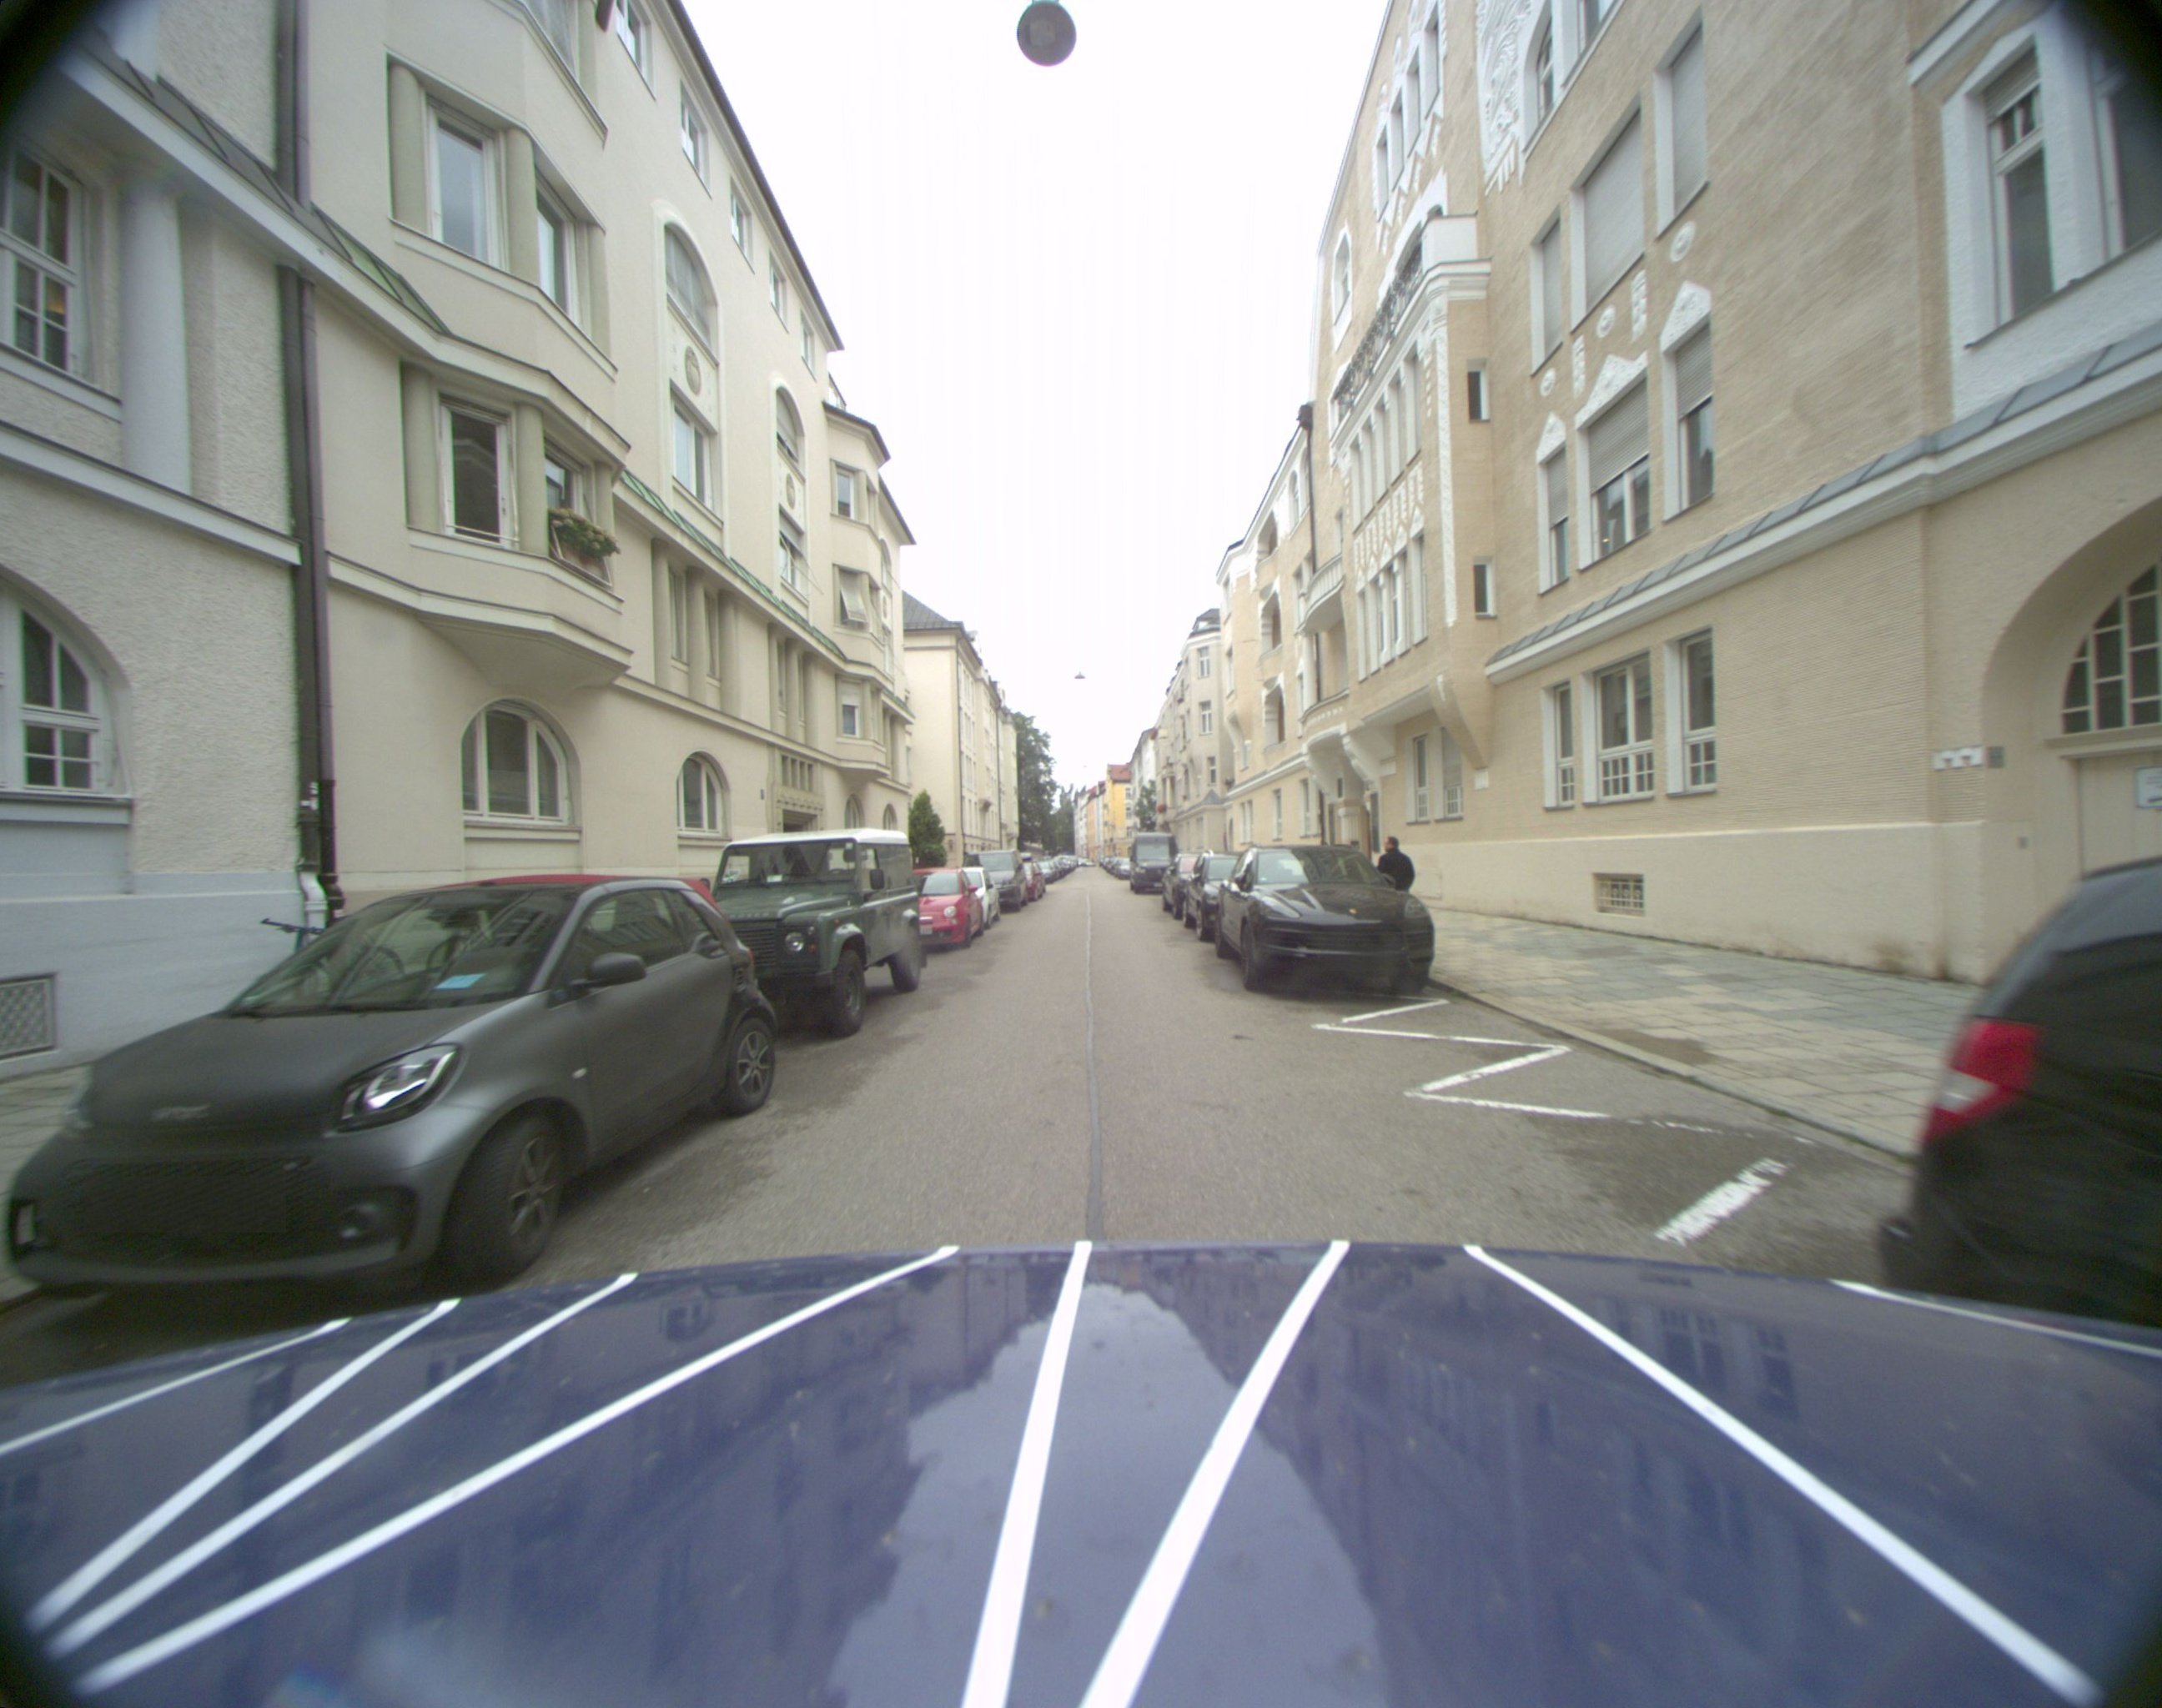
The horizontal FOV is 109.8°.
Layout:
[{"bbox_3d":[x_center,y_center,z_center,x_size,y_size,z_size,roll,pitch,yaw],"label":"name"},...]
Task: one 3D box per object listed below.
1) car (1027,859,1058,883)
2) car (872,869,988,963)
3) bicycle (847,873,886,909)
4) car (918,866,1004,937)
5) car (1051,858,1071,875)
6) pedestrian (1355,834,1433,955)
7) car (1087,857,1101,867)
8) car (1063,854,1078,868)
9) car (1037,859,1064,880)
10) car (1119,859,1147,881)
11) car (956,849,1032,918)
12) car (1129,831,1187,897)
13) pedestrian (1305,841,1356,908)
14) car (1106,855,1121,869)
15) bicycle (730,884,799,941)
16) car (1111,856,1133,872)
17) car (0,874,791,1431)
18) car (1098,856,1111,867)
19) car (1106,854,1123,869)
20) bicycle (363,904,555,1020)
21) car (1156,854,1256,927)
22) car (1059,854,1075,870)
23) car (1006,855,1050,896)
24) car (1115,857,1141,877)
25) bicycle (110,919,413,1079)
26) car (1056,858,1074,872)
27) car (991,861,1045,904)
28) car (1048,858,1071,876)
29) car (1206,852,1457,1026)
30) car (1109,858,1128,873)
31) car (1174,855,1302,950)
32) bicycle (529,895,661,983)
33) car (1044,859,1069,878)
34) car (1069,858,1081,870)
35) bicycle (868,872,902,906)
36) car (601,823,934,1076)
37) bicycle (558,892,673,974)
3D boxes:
[{"bbox_3d":[-2.485,1.082,49.639,1.683,1.434,3.645,-2,0,1],"label":"car"},{"bbox_3d":[-2.787,1.093,14.696,1.497,1.463,3.503,-3,0,-1],"label":"car"},{"bbox_3d":[-7.114,1.206,25.304,0.719,1.111,1.968,0,0,1],"label":"bicycle"},{"bbox_3d":[-2.863,1.090,18.771,1.497,1.463,3.675,-3,0,-1],"label":"car"},{"bbox_3d":[-1.834,1.168,71.841,1.683,1.434,3.645,-2,0,1],"label":"car"},{"bbox_3d":[4.779,0.601,11.647,0.837,1.779,0.741,-2,1,1],"label":"pedestrian"},{"bbox_3d":[2.379,1.559,143.635,2.000,1.788,3.997,-2,0,-7],"label":"car"},{"bbox_3d":[-1.259,0.899,95.469,1.683,1.671,3.645,-2,0,1],"label":"car"},{"bbox_3d":[-2.202,1.122,54.856,1.683,1.375,3.645,-2,0,1],"label":"car"},{"bbox_3d":[3.576,1.095,52.936,1.683,1.390,3.705,-2,0,1],"label":"car"},{"bbox_3d":[-2.722,0.873,24.756,1.880,1.924,4.663,-3,0,-1],"label":"car"},{"bbox_3d":[3.272,0.397,33.362,2.104,2.606,5.678,0,0,2],"label":"car"},{"bbox_3d":[6.612,0.531,20.197,0.995,1.718,0.939,-2,1,0],"label":"pedestrian"},{"bbox_3d":[4.096,1.016,97.407,1.683,1.628,3.705,-2,0,-1],"label":"car"},{"bbox_3d":[-7.139,1.285,17.246,0.643,1.111,1.968,-2,0,1],"label":"bicycle"},{"bbox_3d":[3.677,0.899,68.963,1.683,1.390,3.705,-2,0,-1],"label":"car"},{"bbox_3d":[-2.896,0.977,3.783,1.545,1.616,2.816,-2,0,6],"label":"car"},{"bbox_3d":[4.539,1.403,147.218,1.999,2.002,3.999,-2,0,-3],"label":"car"},{"bbox_3d":[3.844,0.847,86.627,1.683,1.628,3.705,-2,0,-1],"label":"car"},{"bbox_3d":[-7.468,1.239,9.268,0.643,1.111,1.968,-2,0,1],"label":"bicycle"},{"bbox_3d":[3.146,0.846,20.007,1.877,1.639,4.460,-2,0,1],"label":"car"},{"bbox_3d":[-1.616,0.921,89.382,1.683,1.671,3.645,-2,0,1],"label":"car"},{"bbox_3d":[-2.393,0.946,35.265,1.683,1.767,3.457,-2,0,1],"label":"car"},{"bbox_3d":[3.587,0.995,58.408,1.683,1.390,3.705,-2,0,-1],"label":"car"},{"bbox_3d":[-7.533,1.261,7.164,0.647,1.111,1.968,-2,0,1],"label":"bicycle"},{"bbox_3d":[-1.692,1.148,81.672,1.683,1.434,3.645,-2,0,1],"label":"car"},{"bbox_3d":[-2.404,1.065,29.812,1.731,1.458,3.737,-2,0,1],"label":"car"},{"bbox_3d":[-1.776,1.093,63.665,1.683,1.375,3.645,-2,0,1],"label":"car"},{"bbox_3d":[2.835,0.840,9.783,1.955,1.649,4.619,-2,0,4],"label":"car"},{"bbox_3d":[3.824,1.144,78.405,1.683,1.390,3.705,-2,0,-1],"label":"car"},{"bbox_3d":[2.968,0.840,15.173,1.736,1.633,4.102,-1,0,1],"label":"car"},{"bbox_3d":[-7.167,1.211,11.286,0.430,1.111,1.602,-2,0,28],"label":"bicycle"},{"bbox_3d":[-1.874,1.103,59.379,1.683,1.375,3.645,-2,0,1],"label":"car"},{"bbox_3d":[-0.878,1.560,119.012,1.683,1.671,3.645,-2,0,1],"label":"car"},{"bbox_3d":[-7.010,1.228,27.308,0.719,1.111,1.884,0,0,0],"label":"bicycle"},{"bbox_3d":[-2.976,0.785,8.296,1.800,2.027,4.071,-2,0,1],"label":"car"},{"bbox_3d":[-7.267,1.206,11.940,0.316,1.111,1.562,-2,0,28],"label":"bicycle"}]
